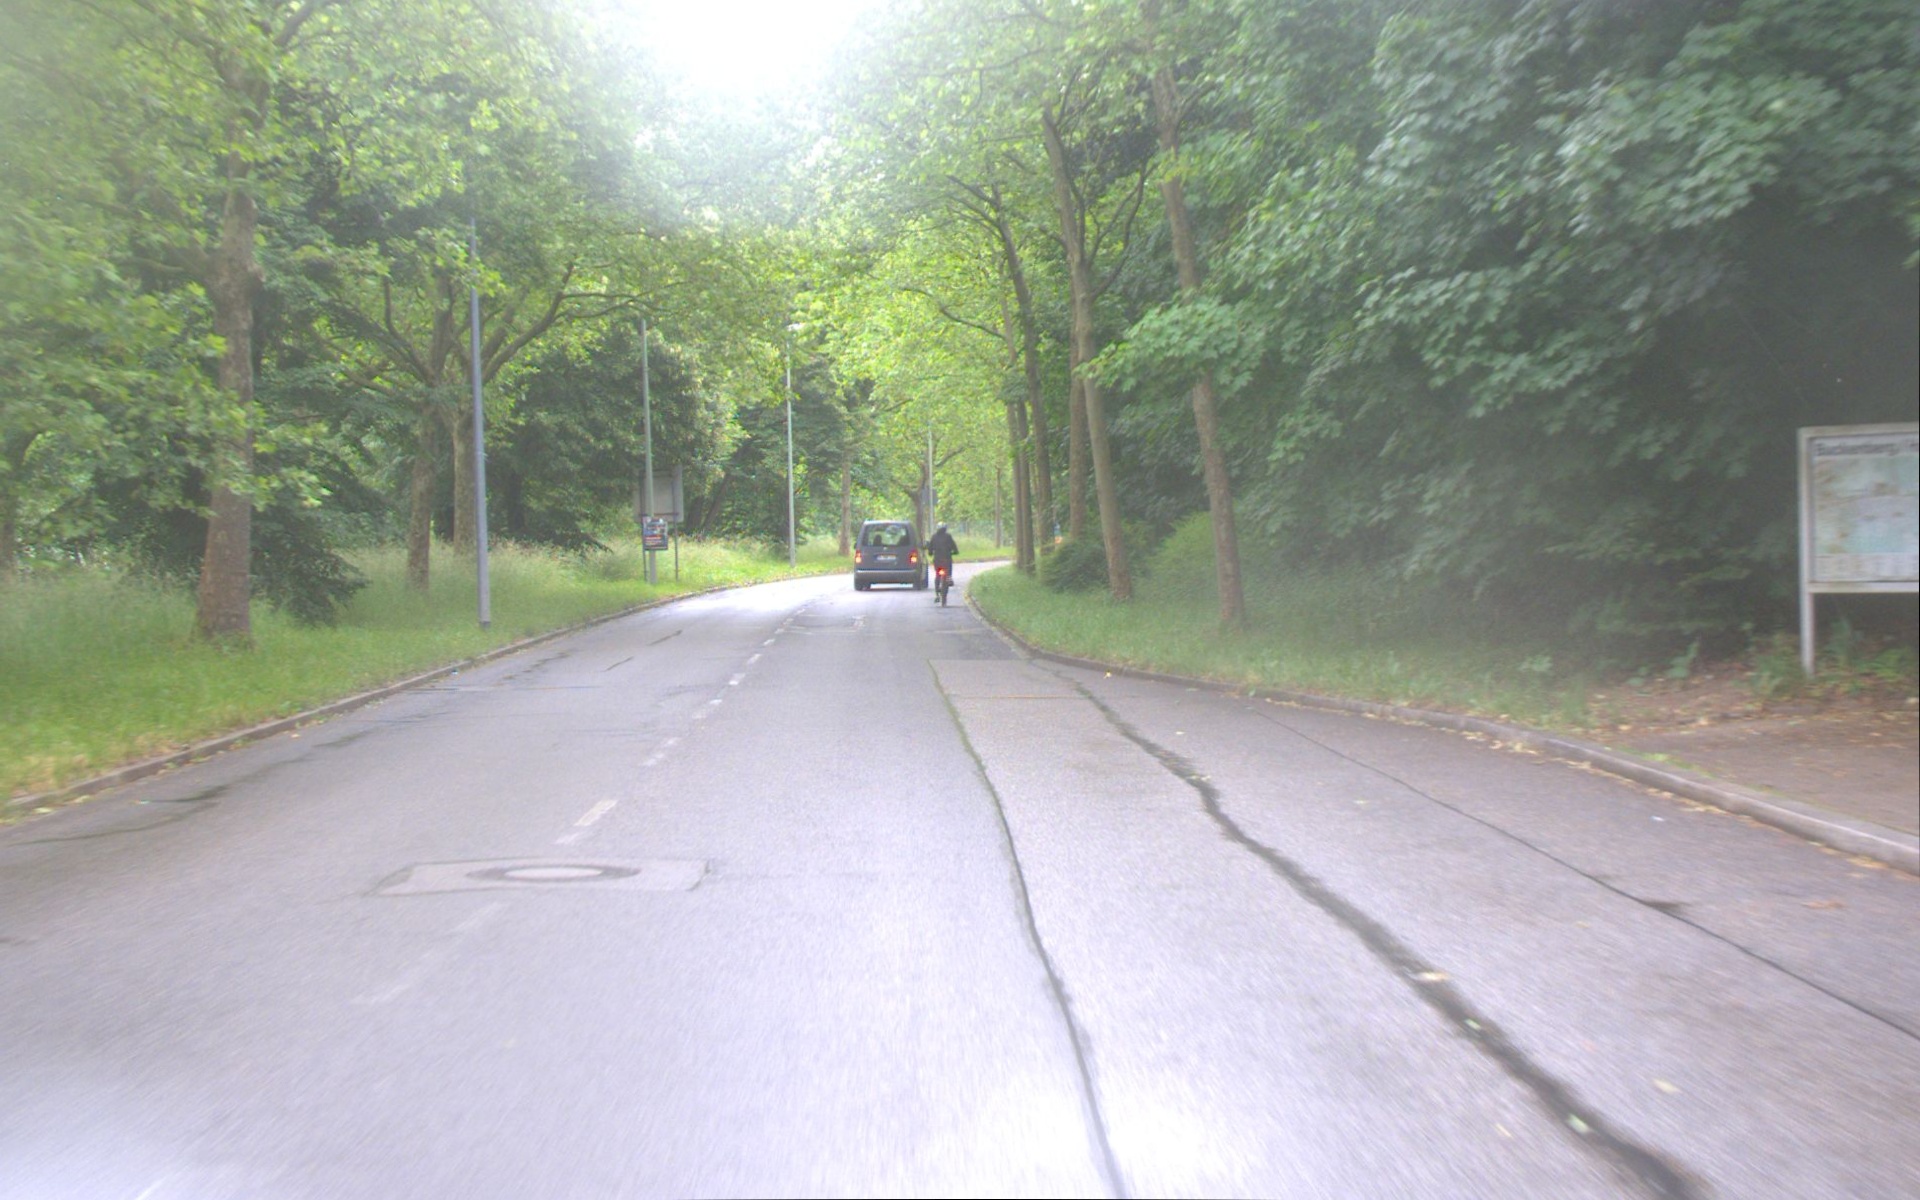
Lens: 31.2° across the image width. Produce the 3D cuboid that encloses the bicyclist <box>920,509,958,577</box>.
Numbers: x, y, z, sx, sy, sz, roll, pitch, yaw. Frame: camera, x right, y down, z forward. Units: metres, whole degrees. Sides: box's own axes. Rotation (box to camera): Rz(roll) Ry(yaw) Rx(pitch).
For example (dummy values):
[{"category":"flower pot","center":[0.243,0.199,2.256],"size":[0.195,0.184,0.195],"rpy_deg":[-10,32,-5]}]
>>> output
[{"category":"bicyclist","center":[-0.439,-1.193,71.690],"size":[0.730,1.406,0.973],"rpy_deg":[1,1,2]}]

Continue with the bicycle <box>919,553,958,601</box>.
[{"category":"bicycle","center":[-0.440,-0.492,71.804],"size":[0.730,0.970,2.173],"rpy_deg":[1,1,2]}]

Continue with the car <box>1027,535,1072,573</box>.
[{"category":"car","center":[4.274,-2.203,164.532],"size":[1.993,1.809,4.000],"rpy_deg":[0,1,-1]}]

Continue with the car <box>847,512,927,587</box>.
[{"category":"car","center":[-1.939,-1.348,90.507],"size":[1.985,1.919,4.001],"rpy_deg":[-1,1,-3]}]
